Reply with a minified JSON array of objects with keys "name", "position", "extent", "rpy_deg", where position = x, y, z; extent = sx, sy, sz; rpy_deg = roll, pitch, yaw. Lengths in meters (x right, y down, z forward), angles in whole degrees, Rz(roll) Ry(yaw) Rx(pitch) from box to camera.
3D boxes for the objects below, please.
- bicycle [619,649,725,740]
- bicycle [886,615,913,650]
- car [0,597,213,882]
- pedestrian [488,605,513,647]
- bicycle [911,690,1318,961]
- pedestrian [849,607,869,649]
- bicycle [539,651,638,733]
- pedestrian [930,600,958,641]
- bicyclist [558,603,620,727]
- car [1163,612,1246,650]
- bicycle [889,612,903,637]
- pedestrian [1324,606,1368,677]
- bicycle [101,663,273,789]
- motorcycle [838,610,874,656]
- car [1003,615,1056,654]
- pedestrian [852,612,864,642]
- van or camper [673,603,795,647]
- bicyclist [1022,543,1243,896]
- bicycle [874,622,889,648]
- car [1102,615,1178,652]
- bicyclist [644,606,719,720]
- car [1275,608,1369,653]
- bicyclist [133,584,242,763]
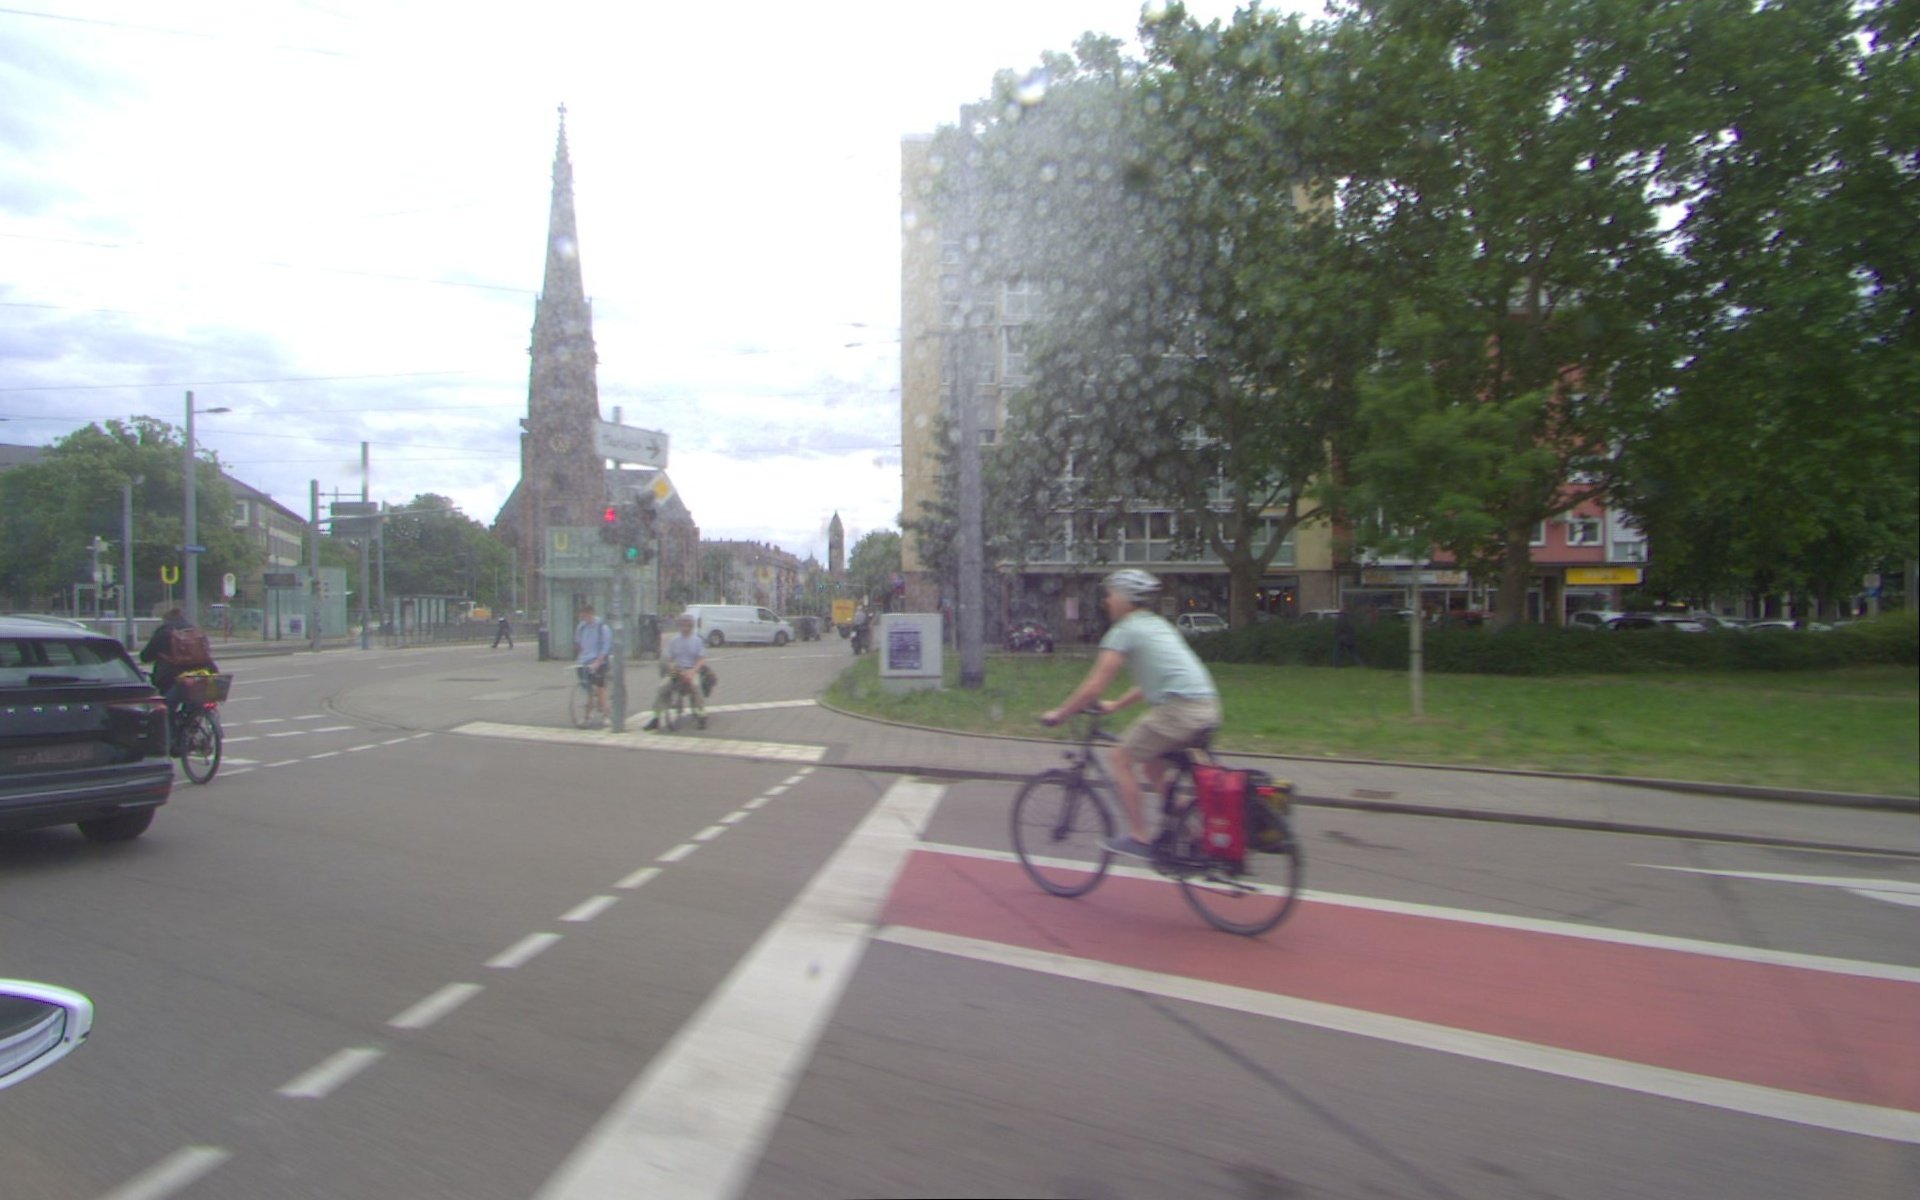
[{"name":"bicycle","position":[-4.053,1.300,14.254],"extent":[0.590,1.012,1.943],"rpy_deg":[0,3,11]},{"name":"bicycle","position":[-2.527,1.340,42.233],"extent":[0.886,1.395,2.784],"rpy_deg":[0,0,2]},{"name":"car","position":[-7.546,0.834,7.084],"extent":[4.444,1.680,1.902],"rpy_deg":[0,0,28]},{"name":"pedestrian","position":[-18.630,1.056,40.581],"extent":[0.889,1.665,0.782],"rpy_deg":[0,0,-23]},{"name":"bicycle","position":[0.782,1.079,5.284],"extent":[1.986,1.092,0.760],"rpy_deg":[0,-2,30]},{"name":"pedestrian","position":[-4.268,1.189,42.464],"extent":[0.797,1.760,0.906],"rpy_deg":[0,1,-3]},{"name":"bicycle","position":[-5.484,1.330,14.898],"extent":[0.568,1.012,1.991],"rpy_deg":[0,1,5]},{"name":"pedestrian","position":[-0.725,0.900,44.175],"extent":[1.032,1.780,0.786],"rpy_deg":[-1,1,-22]},{"name":"bicyclist","position":[-5.485,0.940,14.844],"extent":[0.574,1.775,0.734],"rpy_deg":[0,1,5]},{"name":"car","position":[10.141,1.261,41.860],"extent":[1.962,1.461,3.997],"rpy_deg":[0,0,-9]},{"name":"bicycle","position":[-3.068,1.161,48.016],"extent":[0.657,1.184,2.040],"rpy_deg":[0,0,-3]},{"name":"pedestrian","position":[10.179,1.079,26.411],"extent":[0.881,1.843,0.866],"rpy_deg":[0,1,8]},{"name":"bicycle","position":[-7.784,1.220,10.055],"extent":[2.094,1.069,0.624],"rpy_deg":[0,0,30]},{"name":"motorcycle","position":[-3.354,1.041,32.086],"extent":[1.027,1.384,2.291],"rpy_deg":[0,0,-9]},{"name":"car","position":[2.801,1.370,40.998],"extent":[1.806,1.462,4.166],"rpy_deg":[0,0,-1]},{"name":"pedestrian","position":[-6.020,1.563,59.134],"extent":[0.606,1.738,0.823],"rpy_deg":[0,1,-11]},{"name":"van or camper","position":[-10.858,1.185,48.387],"extent":[5.405,2.004,2.154],"rpy_deg":[0,0,-40]},{"name":"bicyclist","position":[0.915,0.571,5.229],"extent":[0.919,1.639,0.788],"rpy_deg":[0,-1,30]},{"name":"bicycle","position":[-3.753,1.647,48.020],"extent":[0.657,1.184,2.040],"rpy_deg":[0,0,-3]},{"name":"car","position":[7.387,1.345,41.507],"extent":[1.962,1.483,3.999],"rpy_deg":[0,-1,-7]},{"name":"bicyclist","position":[-3.981,0.884,14.381],"extent":[0.659,1.543,0.885],"rpy_deg":[0,4,12]},{"name":"car","position":[15.000,1.238,41.728],"extent":[1.962,1.746,3.998],"rpy_deg":[0,-1,-9]},{"name":"bicyclist","position":[-7.729,0.702,10.026],"extent":[0.793,1.713,0.615],"rpy_deg":[1,1,30]}]
